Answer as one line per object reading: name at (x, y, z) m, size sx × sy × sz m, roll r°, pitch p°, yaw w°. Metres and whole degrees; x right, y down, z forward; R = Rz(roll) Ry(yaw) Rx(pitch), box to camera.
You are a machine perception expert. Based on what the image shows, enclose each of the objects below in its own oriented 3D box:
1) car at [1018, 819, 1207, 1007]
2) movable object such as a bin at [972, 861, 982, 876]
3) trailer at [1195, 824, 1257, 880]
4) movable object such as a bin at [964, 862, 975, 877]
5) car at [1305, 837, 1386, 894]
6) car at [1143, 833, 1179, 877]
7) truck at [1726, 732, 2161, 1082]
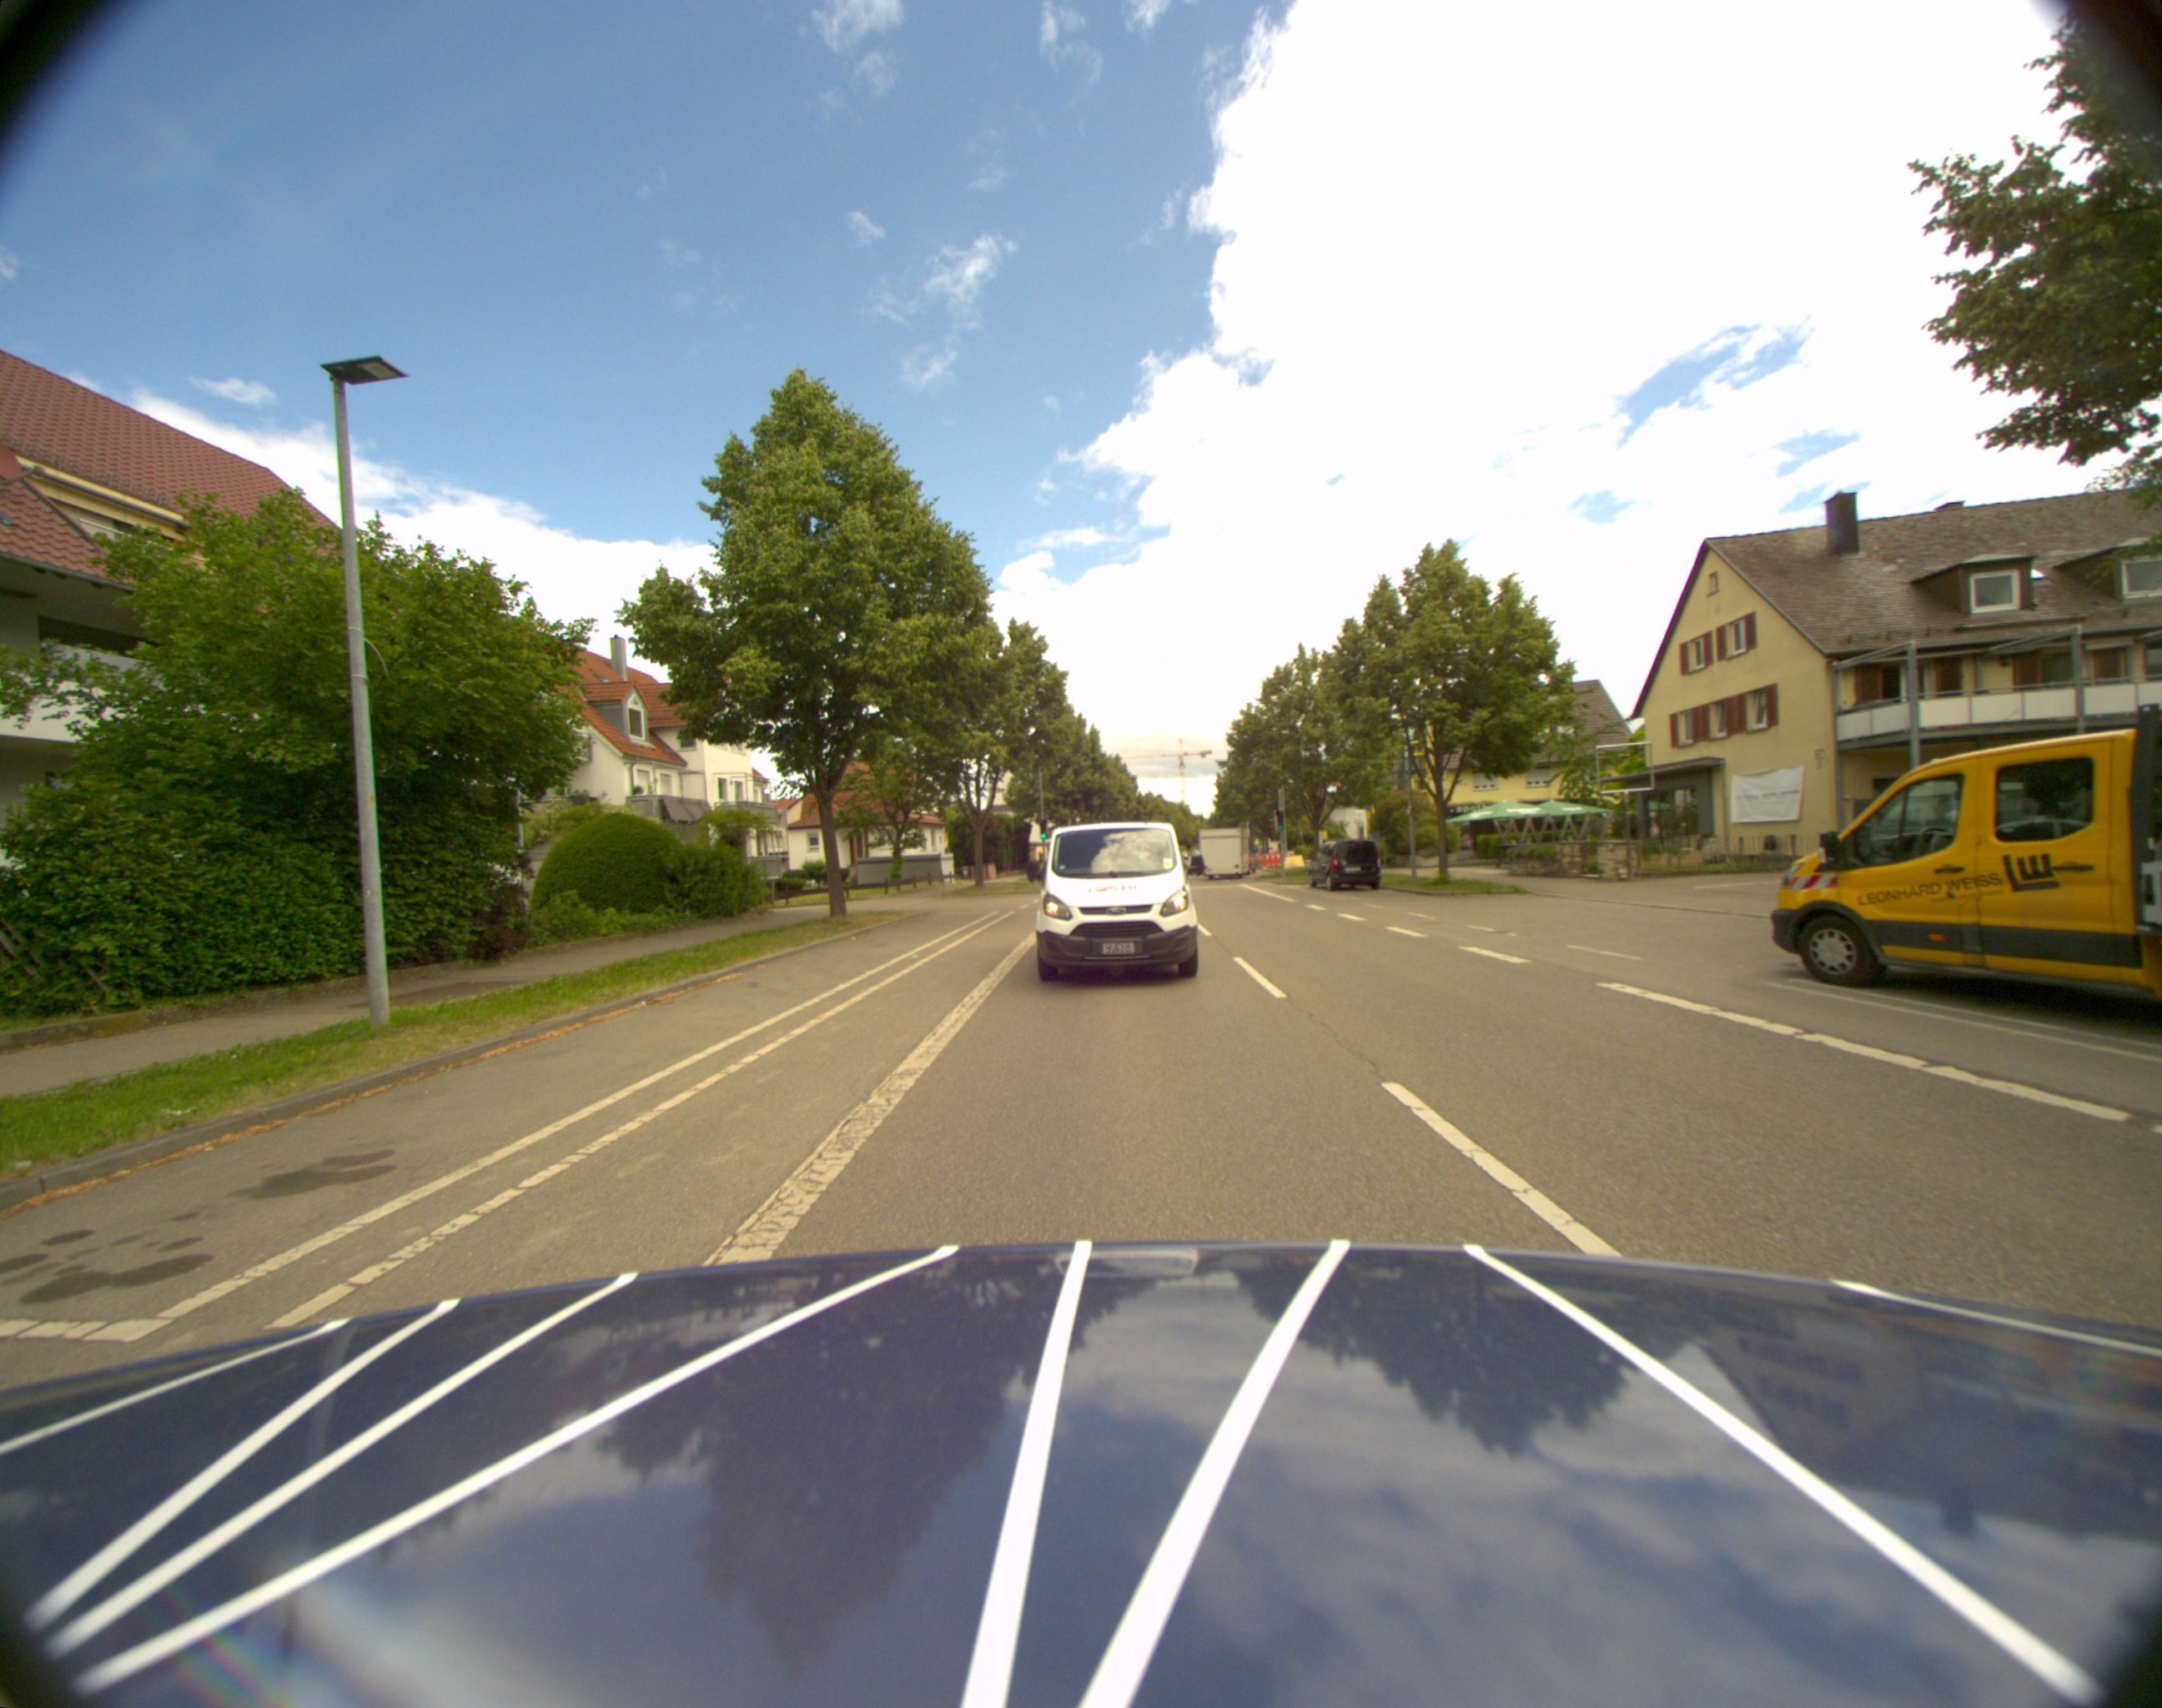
car at (0.541, 0.643, 11.010) m, size 1.998 × 2.002 × 5.320 m, roll -2°, pitch 0°, yaw 4°
movable object such as a bin at (-7.224, 0.990, 52.646) m, size 0.499 × 1.038 × 0.520 m, roll -2°, pitch 1°, yaw 18°
trailer at (8.459, -0.134, 43.627) m, size 2.638 × 2.862 × 6.879 m, roll -2°, pitch 0°, yaw 17°
movable object such as a bin at (-7.729, 1.087, 52.821) m, size 0.540 × 1.052 × 0.519 m, roll -2°, pitch 1°, yaw 18°
car at (9.531, 0.365, 27.711) m, size 1.711 × 1.863 × 4.399 m, roll -2°, pitch 0°, yaw 5°
car at (5.212, 0.048, 49.070) m, size 1.997 × 2.584 × 4.003 m, roll -3°, pitch 0°, yaw 9°
truck at (8.185, 0.307, 5.263) m, size 2.300 × 2.274 × 6.465 m, roll -2°, pitch 0°, yaw 5°
